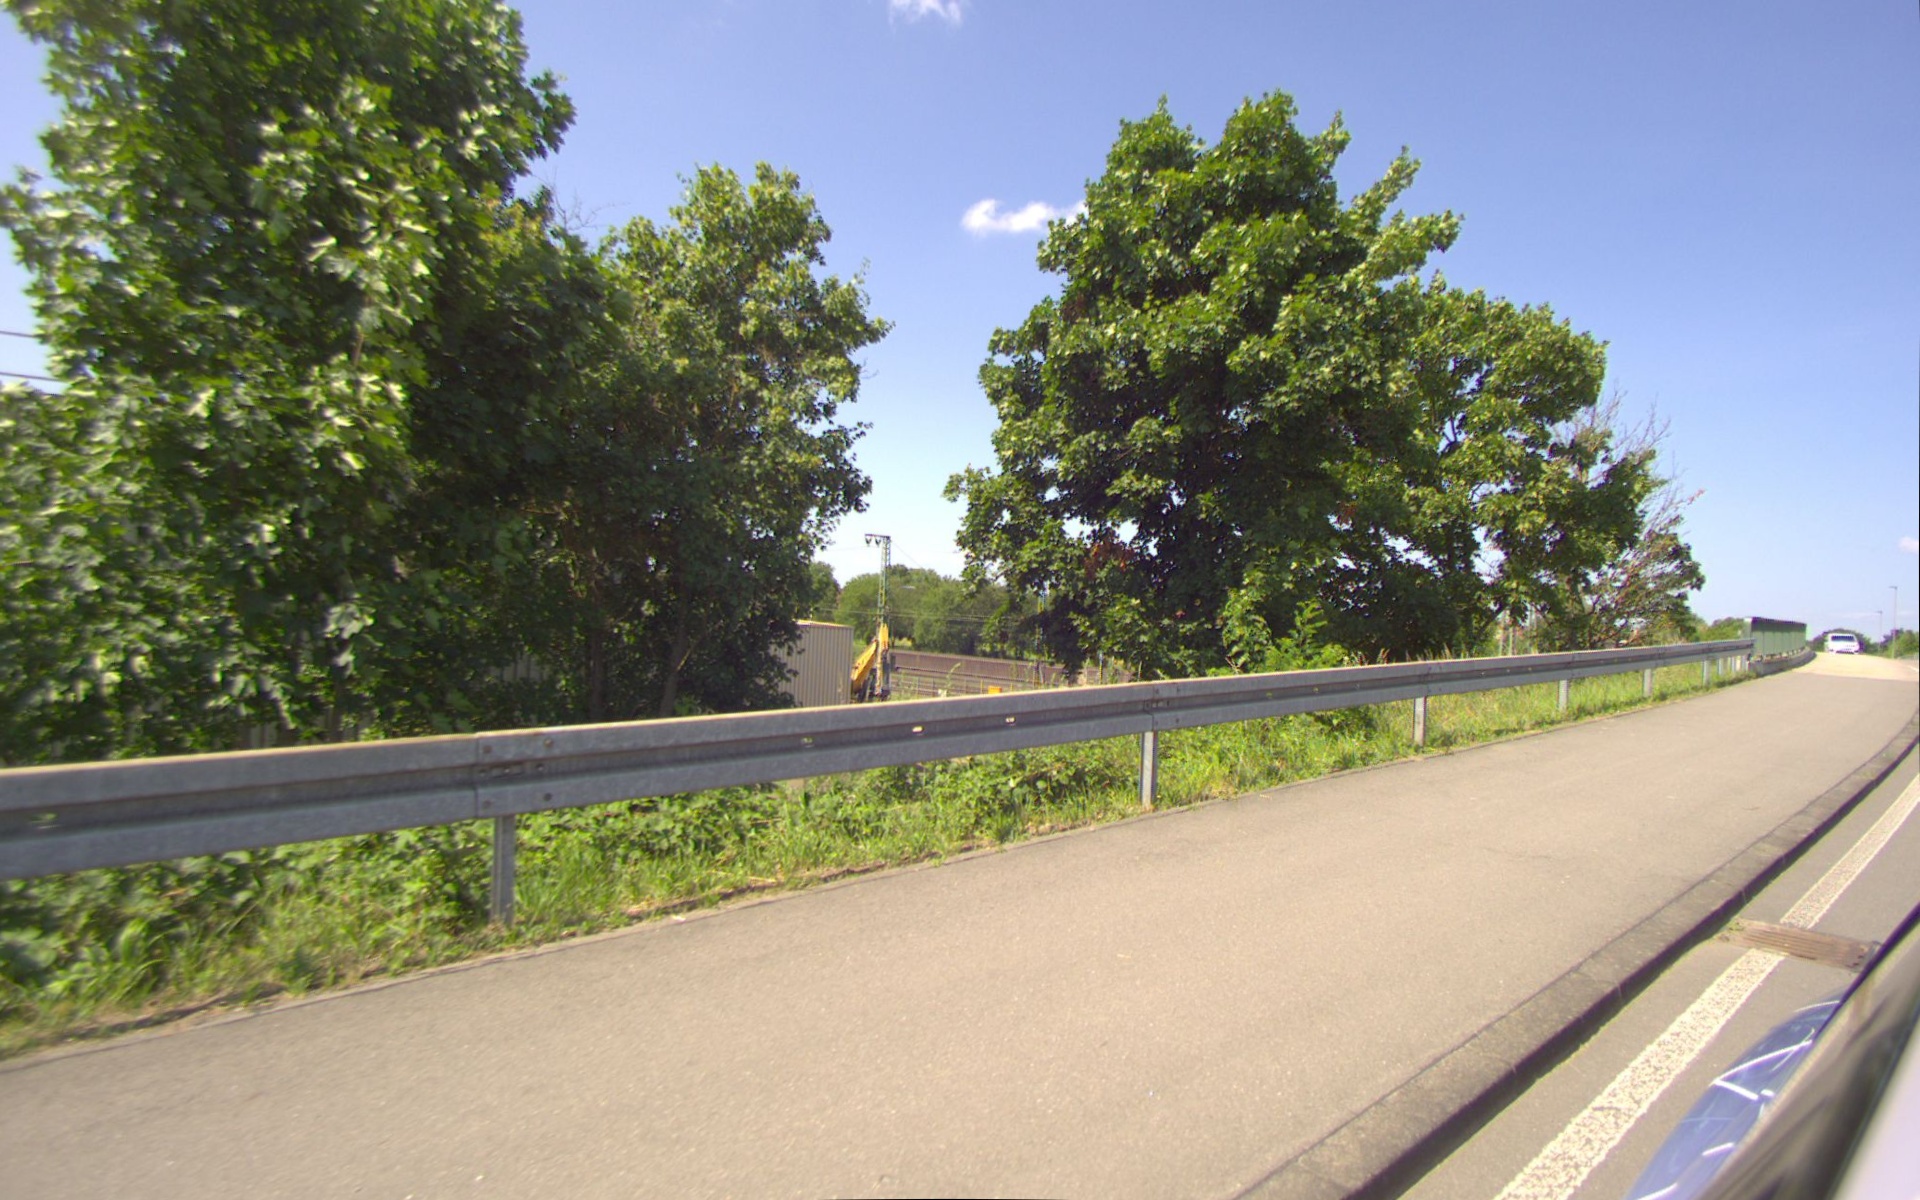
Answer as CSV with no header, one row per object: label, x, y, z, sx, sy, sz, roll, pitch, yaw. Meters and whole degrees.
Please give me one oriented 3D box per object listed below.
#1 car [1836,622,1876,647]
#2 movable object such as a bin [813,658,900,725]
car,68.521,2.612,77.476,2.084,1.783,4.221,0,-1,39
movable object such as a bin,-6.268,5.413,60.610,3.180,3.332,6.235,5,-1,-24
